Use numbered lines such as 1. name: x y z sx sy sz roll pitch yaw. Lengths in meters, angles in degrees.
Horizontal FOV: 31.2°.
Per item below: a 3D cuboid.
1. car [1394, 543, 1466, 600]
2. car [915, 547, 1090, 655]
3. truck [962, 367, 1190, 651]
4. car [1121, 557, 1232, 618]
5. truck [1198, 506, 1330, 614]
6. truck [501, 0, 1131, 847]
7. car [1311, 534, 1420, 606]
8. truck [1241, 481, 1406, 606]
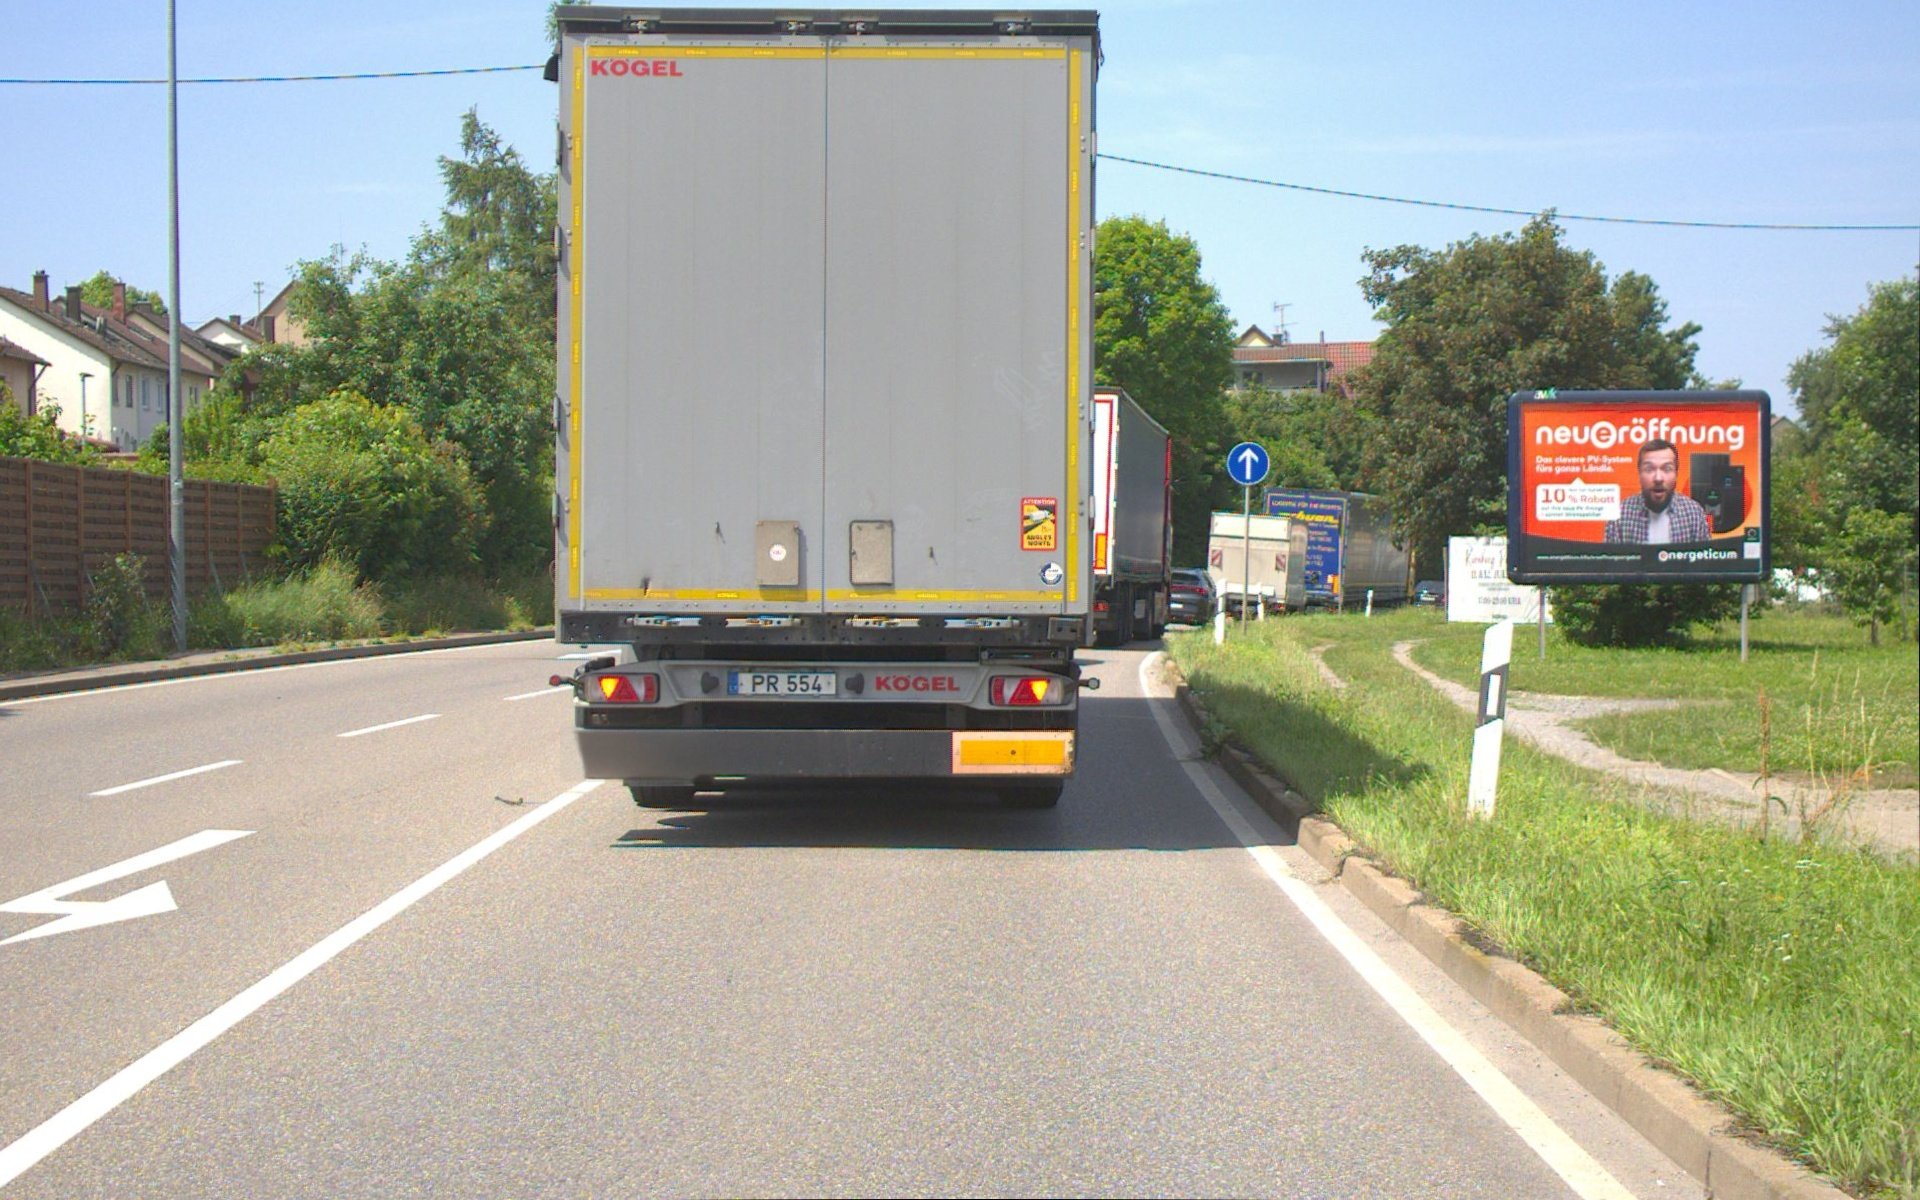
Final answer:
1. car: 17.295 -1.022 126.370 1.995 2.007 3.997 1 0 16
2. car: 0.609 0.008 45.659 1.819 1.342 3.846 1 0 8
3. truck: 2.302 -1.395 60.527 2.761 4.274 16.411 1 0 6
4. car: 5.140 -0.280 81.116 1.995 1.371 3.998 1 0 12
5. truck: 8.308 -1.051 93.365 2.545 2.793 6.028 1 0 15
6. truck: -0.742 -1.034 21.589 2.822 4.113 11.444 1 1 -1
7. car: 13.462 -1.026 113.746 2.534 2.269 6.376 1 1 16
8. truck: 11.213 -1.754 105.216 3.435 3.592 9.347 1 1 16
